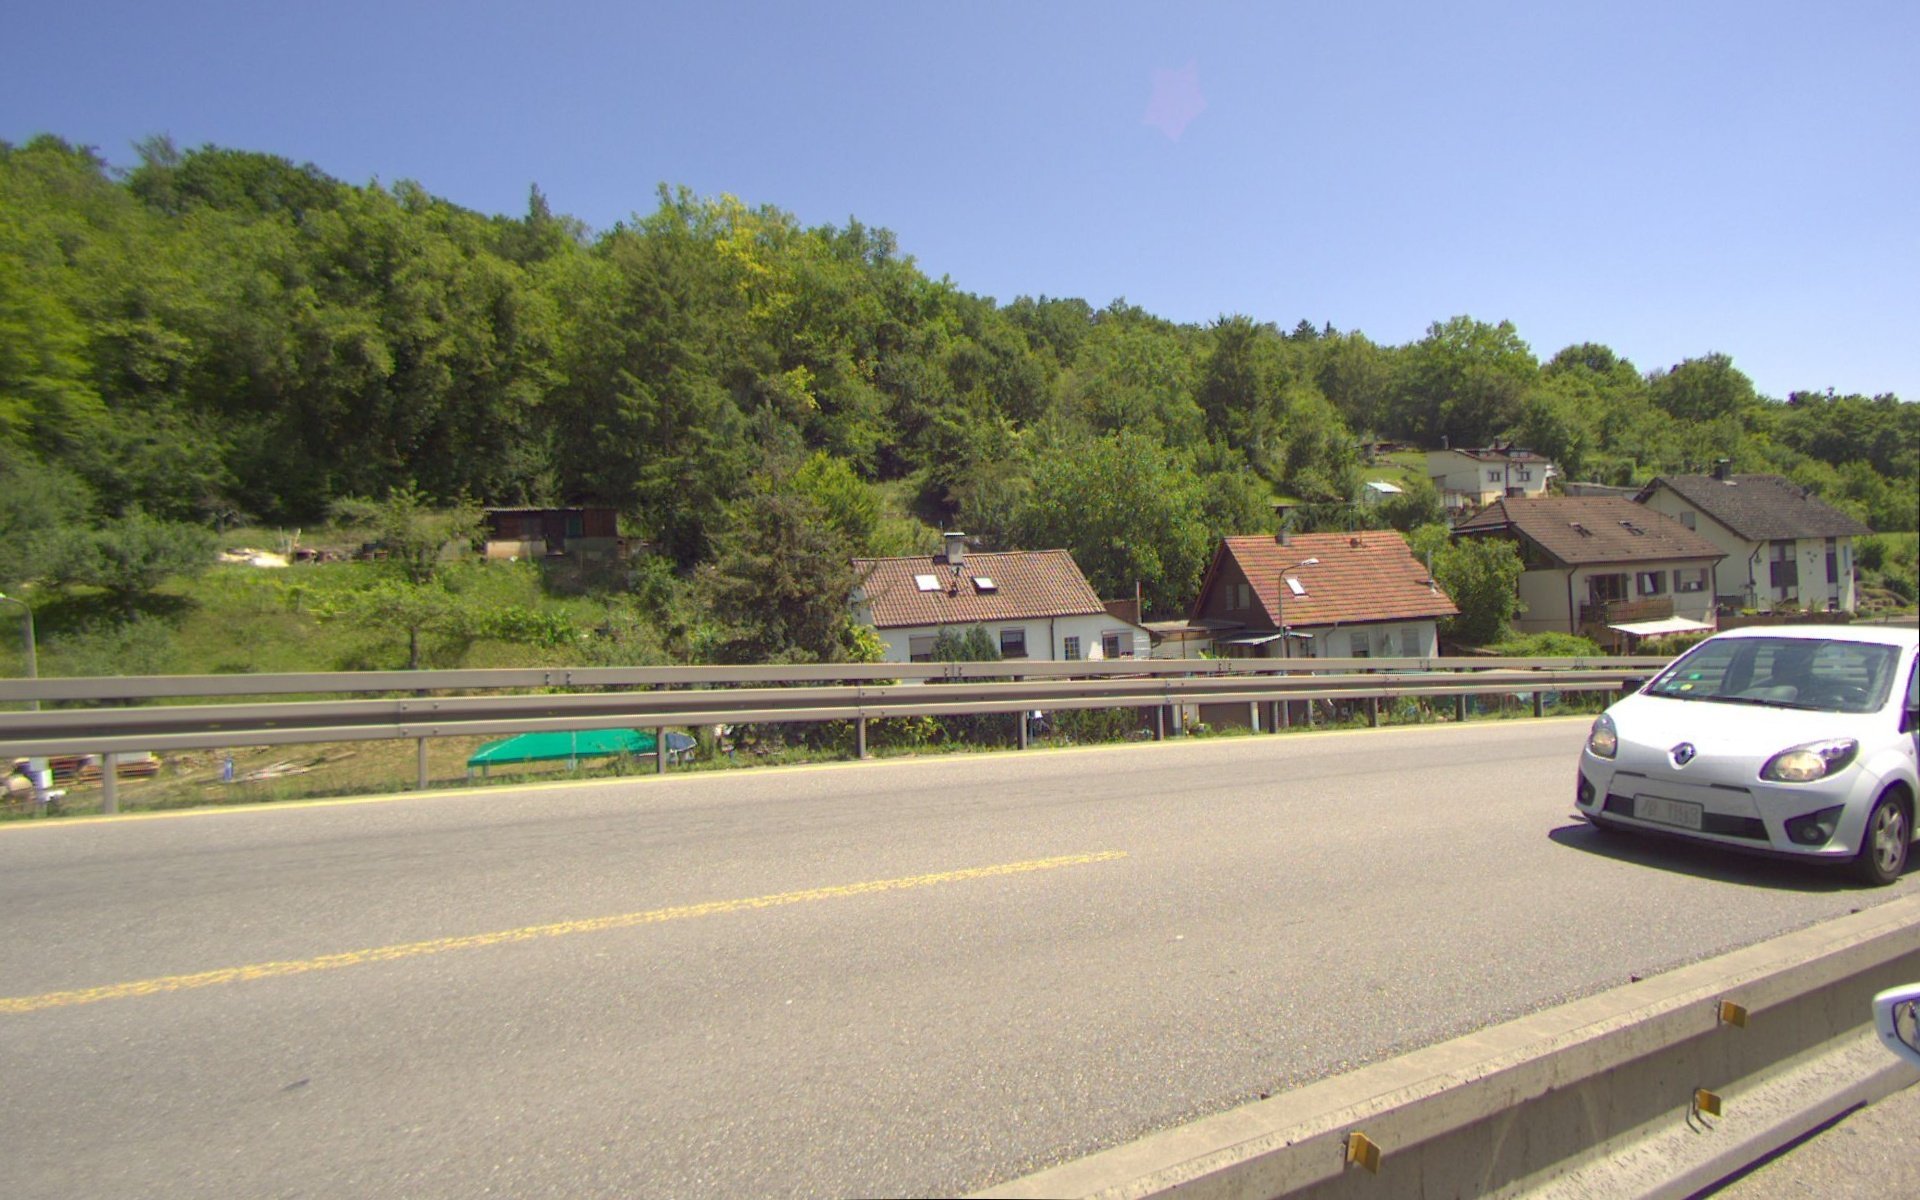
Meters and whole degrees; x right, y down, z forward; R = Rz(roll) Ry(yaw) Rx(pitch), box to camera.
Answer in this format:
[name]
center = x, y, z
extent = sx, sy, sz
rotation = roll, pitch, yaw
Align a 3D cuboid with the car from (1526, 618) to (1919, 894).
[car]
center = 5.869, 0.859, 7.035
extent = 3.666, 1.445, 1.738
rotation = 1, 0, -31
